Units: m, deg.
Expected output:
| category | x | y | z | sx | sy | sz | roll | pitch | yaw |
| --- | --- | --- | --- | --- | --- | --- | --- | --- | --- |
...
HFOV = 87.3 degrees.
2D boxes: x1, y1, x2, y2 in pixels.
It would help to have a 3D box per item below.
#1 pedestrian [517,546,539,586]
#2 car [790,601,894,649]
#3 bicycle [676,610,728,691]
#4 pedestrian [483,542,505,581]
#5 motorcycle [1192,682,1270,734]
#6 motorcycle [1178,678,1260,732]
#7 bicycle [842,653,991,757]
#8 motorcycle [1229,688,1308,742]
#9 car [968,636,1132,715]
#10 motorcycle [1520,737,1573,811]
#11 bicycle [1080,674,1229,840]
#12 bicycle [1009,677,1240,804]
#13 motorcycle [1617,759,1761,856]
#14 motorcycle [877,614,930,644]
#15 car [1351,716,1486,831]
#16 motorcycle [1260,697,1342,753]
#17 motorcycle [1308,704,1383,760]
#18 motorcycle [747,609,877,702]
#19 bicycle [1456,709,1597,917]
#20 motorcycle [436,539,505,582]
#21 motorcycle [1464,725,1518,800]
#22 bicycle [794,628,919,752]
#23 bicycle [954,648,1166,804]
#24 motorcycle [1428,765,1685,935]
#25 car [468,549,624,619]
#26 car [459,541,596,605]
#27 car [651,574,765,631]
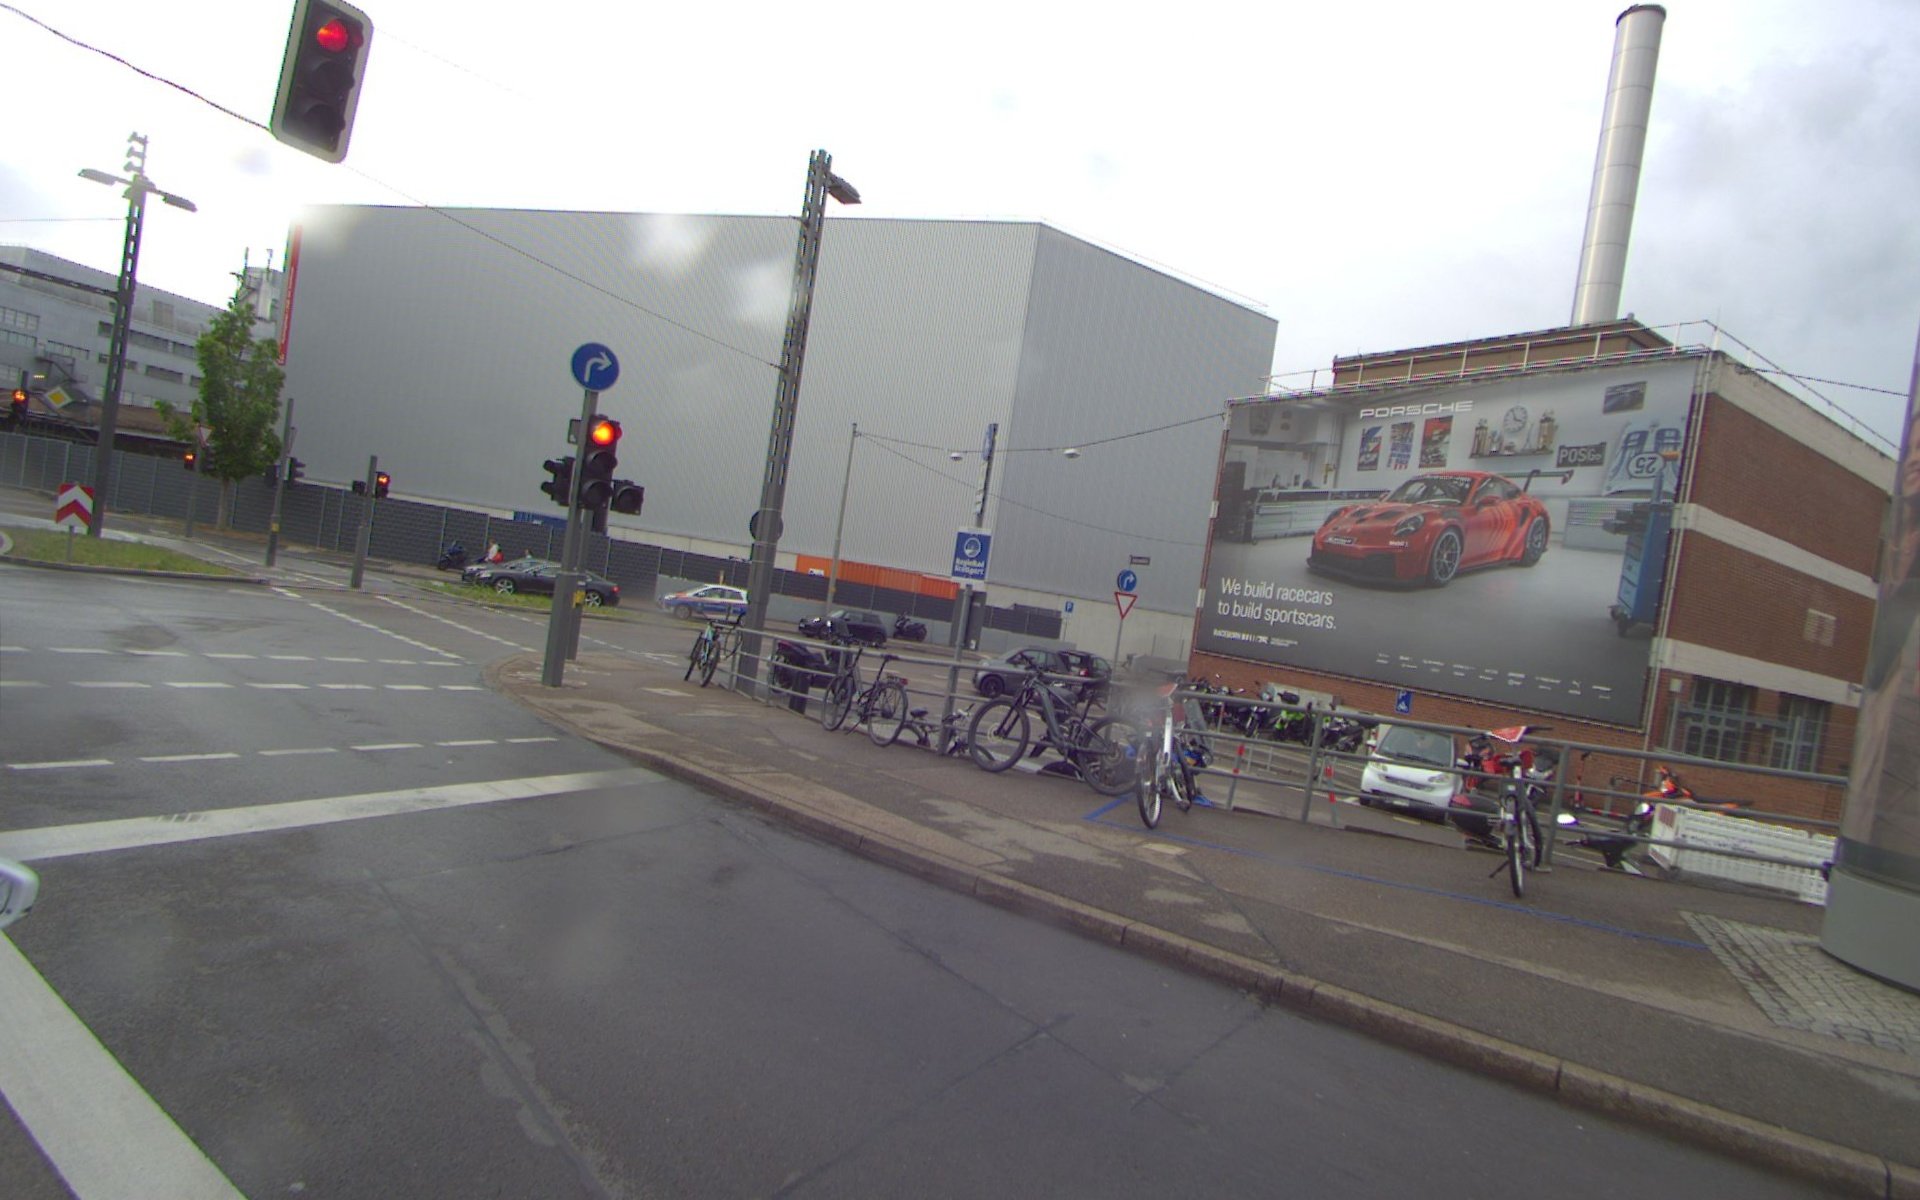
| category | x | y | z | sx | sy | sz | roll | pitch | yaw |
| --- | --- | --- | --- | --- | --- | --- | --- | --- | --- |
| pedestrian | -17.290 | -1.364 | 40.270 | 0.642 | 1.499 | 0.436 | 7 | 0 | -25 |
| car | -5.037 | 1.081 | 43.126 | 3.958 | 1.408 | 1.744 | 10 | -1 | -29 |
| bicycle | -4.145 | 0.779 | 16.105 | 0.381 | 1.111 | 1.740 | 6 | 0 | -25 |
| pedestrian | -18.637 | -1.533 | 40.248 | 0.605 | 1.499 | 0.421 | 7 | 0 | -23 |
| motorcycle | 7.299 | 2.917 | 27.073 | 1.998 | 1.206 | 0.605 | 6 | 3 | -27 |
| motorcycle | 7.254 | 2.931 | 28.195 | 1.987 | 1.206 | 0.608 | 7 | 3 | -4 |
| bicycle | -0.532 | 1.179 | 11.514 | 1.789 | 0.916 | 0.530 | 6 | -1 | 44 |
| motorcycle | 8.012 | 2.994 | 26.107 | 1.999 | 1.206 | 0.605 | 6 | 3 | -29 |
| car | 2.402 | 2.021 | 27.494 | 4.091 | 1.547 | 1.836 | 8 | -2 | -3 |
| motorcycle | 12.486 | 3.670 | 21.400 | 0.564 | 1.327 | 1.863 | 10 | 3 | 37 |
| bicycle | 1.676 | 1.238 | 8.421 | 0.666 | 1.154 | 1.774 | 6 | -1 | 27 |
| bicycle | 1.649 | 1.383 | 10.244 | 2.138 | 0.916 | 0.693 | 6 | -1 | 32 |
| motorcycle | 14.115 | 3.985 | 19.533 | 0.922 | 1.327 | 1.961 | 5 | 4 | -41 |
| motorcycle | -2.888 | 1.475 | 51.717 | 2.471 | 1.200 | 0.991 | 8 | -1 | -34 |
| car | 8.537 | 3.094 | 18.565 | 1.665 | 1.499 | 3.555 | 10 | 1 | 31 |
| motorcycle | 8.490 | 3.110 | 25.036 | 1.999 | 1.206 | 0.605 | 6 | 3 | -29 |
| motorcycle | 9.319 | 3.189 | 24.282 | 2.005 | 1.206 | 0.603 | 6 | 3 | -38 |
| motorcycle | -2.674 | 1.039 | 18.377 | 0.746 | 1.469 | 2.225 | 8 | -1 | 42 |
| bicycle | 4.113 | 1.477 | 7.426 | 0.581 | 1.176 | 1.805 | 6 | 0 | 23 |
| motorcycle | -19.755 | -1.590 | 40.591 | 2.335 | 1.360 | 0.648 | 8 | 0 | -30 |
| motorcycle | 11.674 | 3.532 | 22.087 | 0.677 | 1.327 | 2.016 | 9 | 3 | 33 |
| bicycle | -1.189 | 0.975 | 11.258 | 0.383 | 1.133 | 1.731 | 6 | 0 | -39 |
| bicycle | 0.916 | 1.160 | 9.649 | 1.969 | 1.176 | 0.385 | 6 | 0 | 35 |
| motorcycle | 5.116 | 2.121 | 8.760 | 1.718 | 1.002 | 0.699 | 8 | 0 | 21 |
| car | -13.782 | -0.524 | 33.539 | 4.536 | 1.557 | 1.744 | 10 | -1 | -29 |
| car | -15.575 | -0.975 | 36.287 | 4.254 | 1.557 | 1.744 | 10 | -1 | -29 |
| car | -10.071 | 0.085 | 40.190 | 3.939 | 1.620 | 1.898 | 10 | -1 | -29 |
